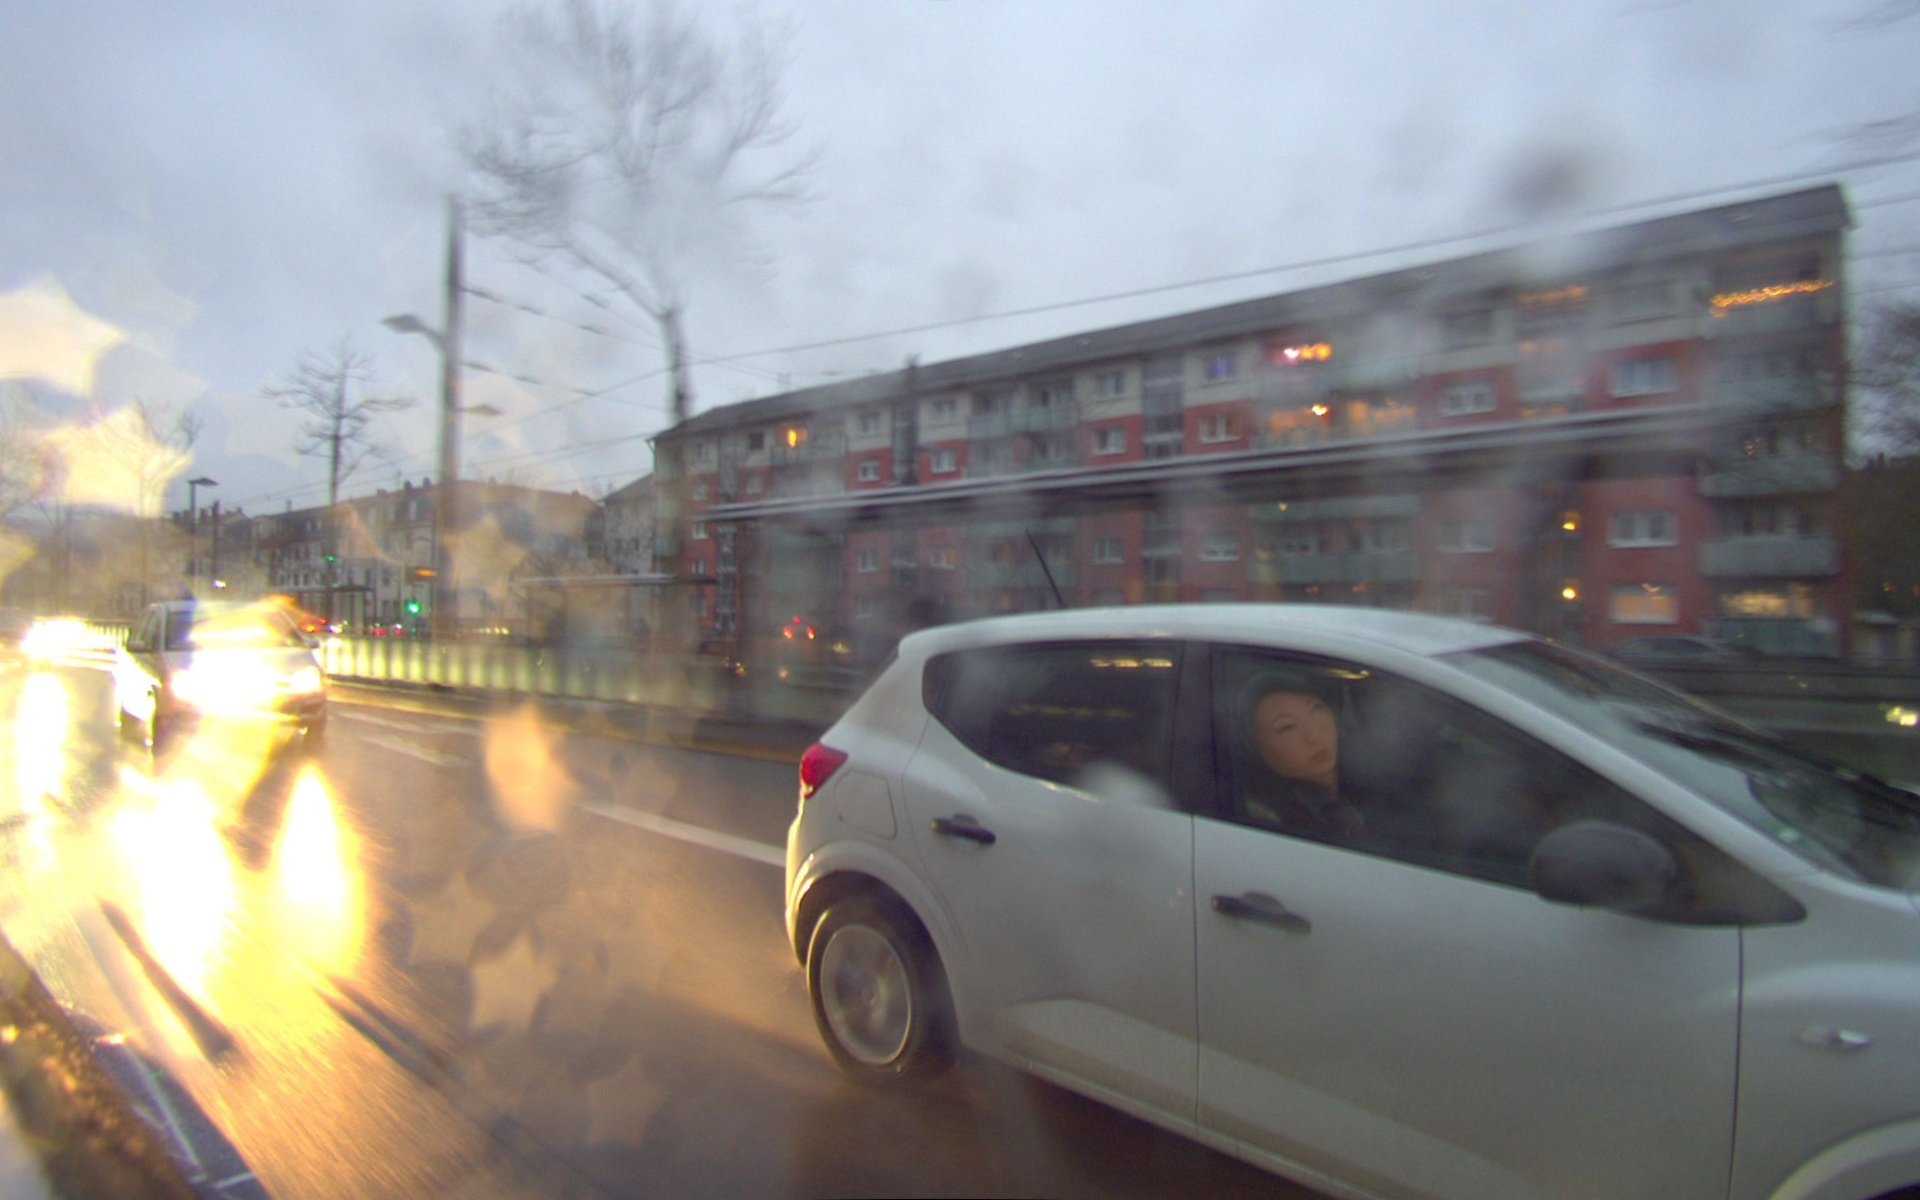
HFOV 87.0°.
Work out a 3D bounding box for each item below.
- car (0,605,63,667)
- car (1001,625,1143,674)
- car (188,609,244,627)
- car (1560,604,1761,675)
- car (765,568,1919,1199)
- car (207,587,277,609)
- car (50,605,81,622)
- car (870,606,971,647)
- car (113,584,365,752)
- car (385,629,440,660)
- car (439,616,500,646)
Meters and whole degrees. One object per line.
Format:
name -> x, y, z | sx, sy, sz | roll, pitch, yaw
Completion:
car -> -25.013, 0.911, 26.203 | 4.085, 1.513, 1.952 | -1, -1, 37
car -> 3.490, 1.508, 31.944 | 4.211, 1.302, 1.761 | 1, 0, 40
car -> -68.170, 1.647, 92.738 | 3.944, 1.516, 1.317 | 1, 0, -17
car -> 18.118, 0.950, 26.283 | 4.149, 1.658, 1.707 | 1, 0, 41
car -> 1.384, 0.684, 2.648 | 4.000, 1.477, 1.689 | 1, 0, 43
car -> -77.258, -0.183, 108.998 | 5.808, 2.271, 1.827 | 1, 0, -19
car -> -87.207, 1.304, 98.625 | 3.743, 1.651, 1.508 | 1, -1, 37
car -> -1.689, 1.065, 42.106 | 4.147, 1.555, 1.707 | 1, 0, 40
car -> -8.901, 0.667, 12.360 | 1.992, 1.690, 4.004 | 0, 0, -43
car -> -35.016, 2.810, 64.710 | 3.995, 1.772, 1.675 | 1, 0, 38
car -> -25.321, 1.574, 52.185 | 3.234, 1.446, 1.671 | 1, 0, 40
